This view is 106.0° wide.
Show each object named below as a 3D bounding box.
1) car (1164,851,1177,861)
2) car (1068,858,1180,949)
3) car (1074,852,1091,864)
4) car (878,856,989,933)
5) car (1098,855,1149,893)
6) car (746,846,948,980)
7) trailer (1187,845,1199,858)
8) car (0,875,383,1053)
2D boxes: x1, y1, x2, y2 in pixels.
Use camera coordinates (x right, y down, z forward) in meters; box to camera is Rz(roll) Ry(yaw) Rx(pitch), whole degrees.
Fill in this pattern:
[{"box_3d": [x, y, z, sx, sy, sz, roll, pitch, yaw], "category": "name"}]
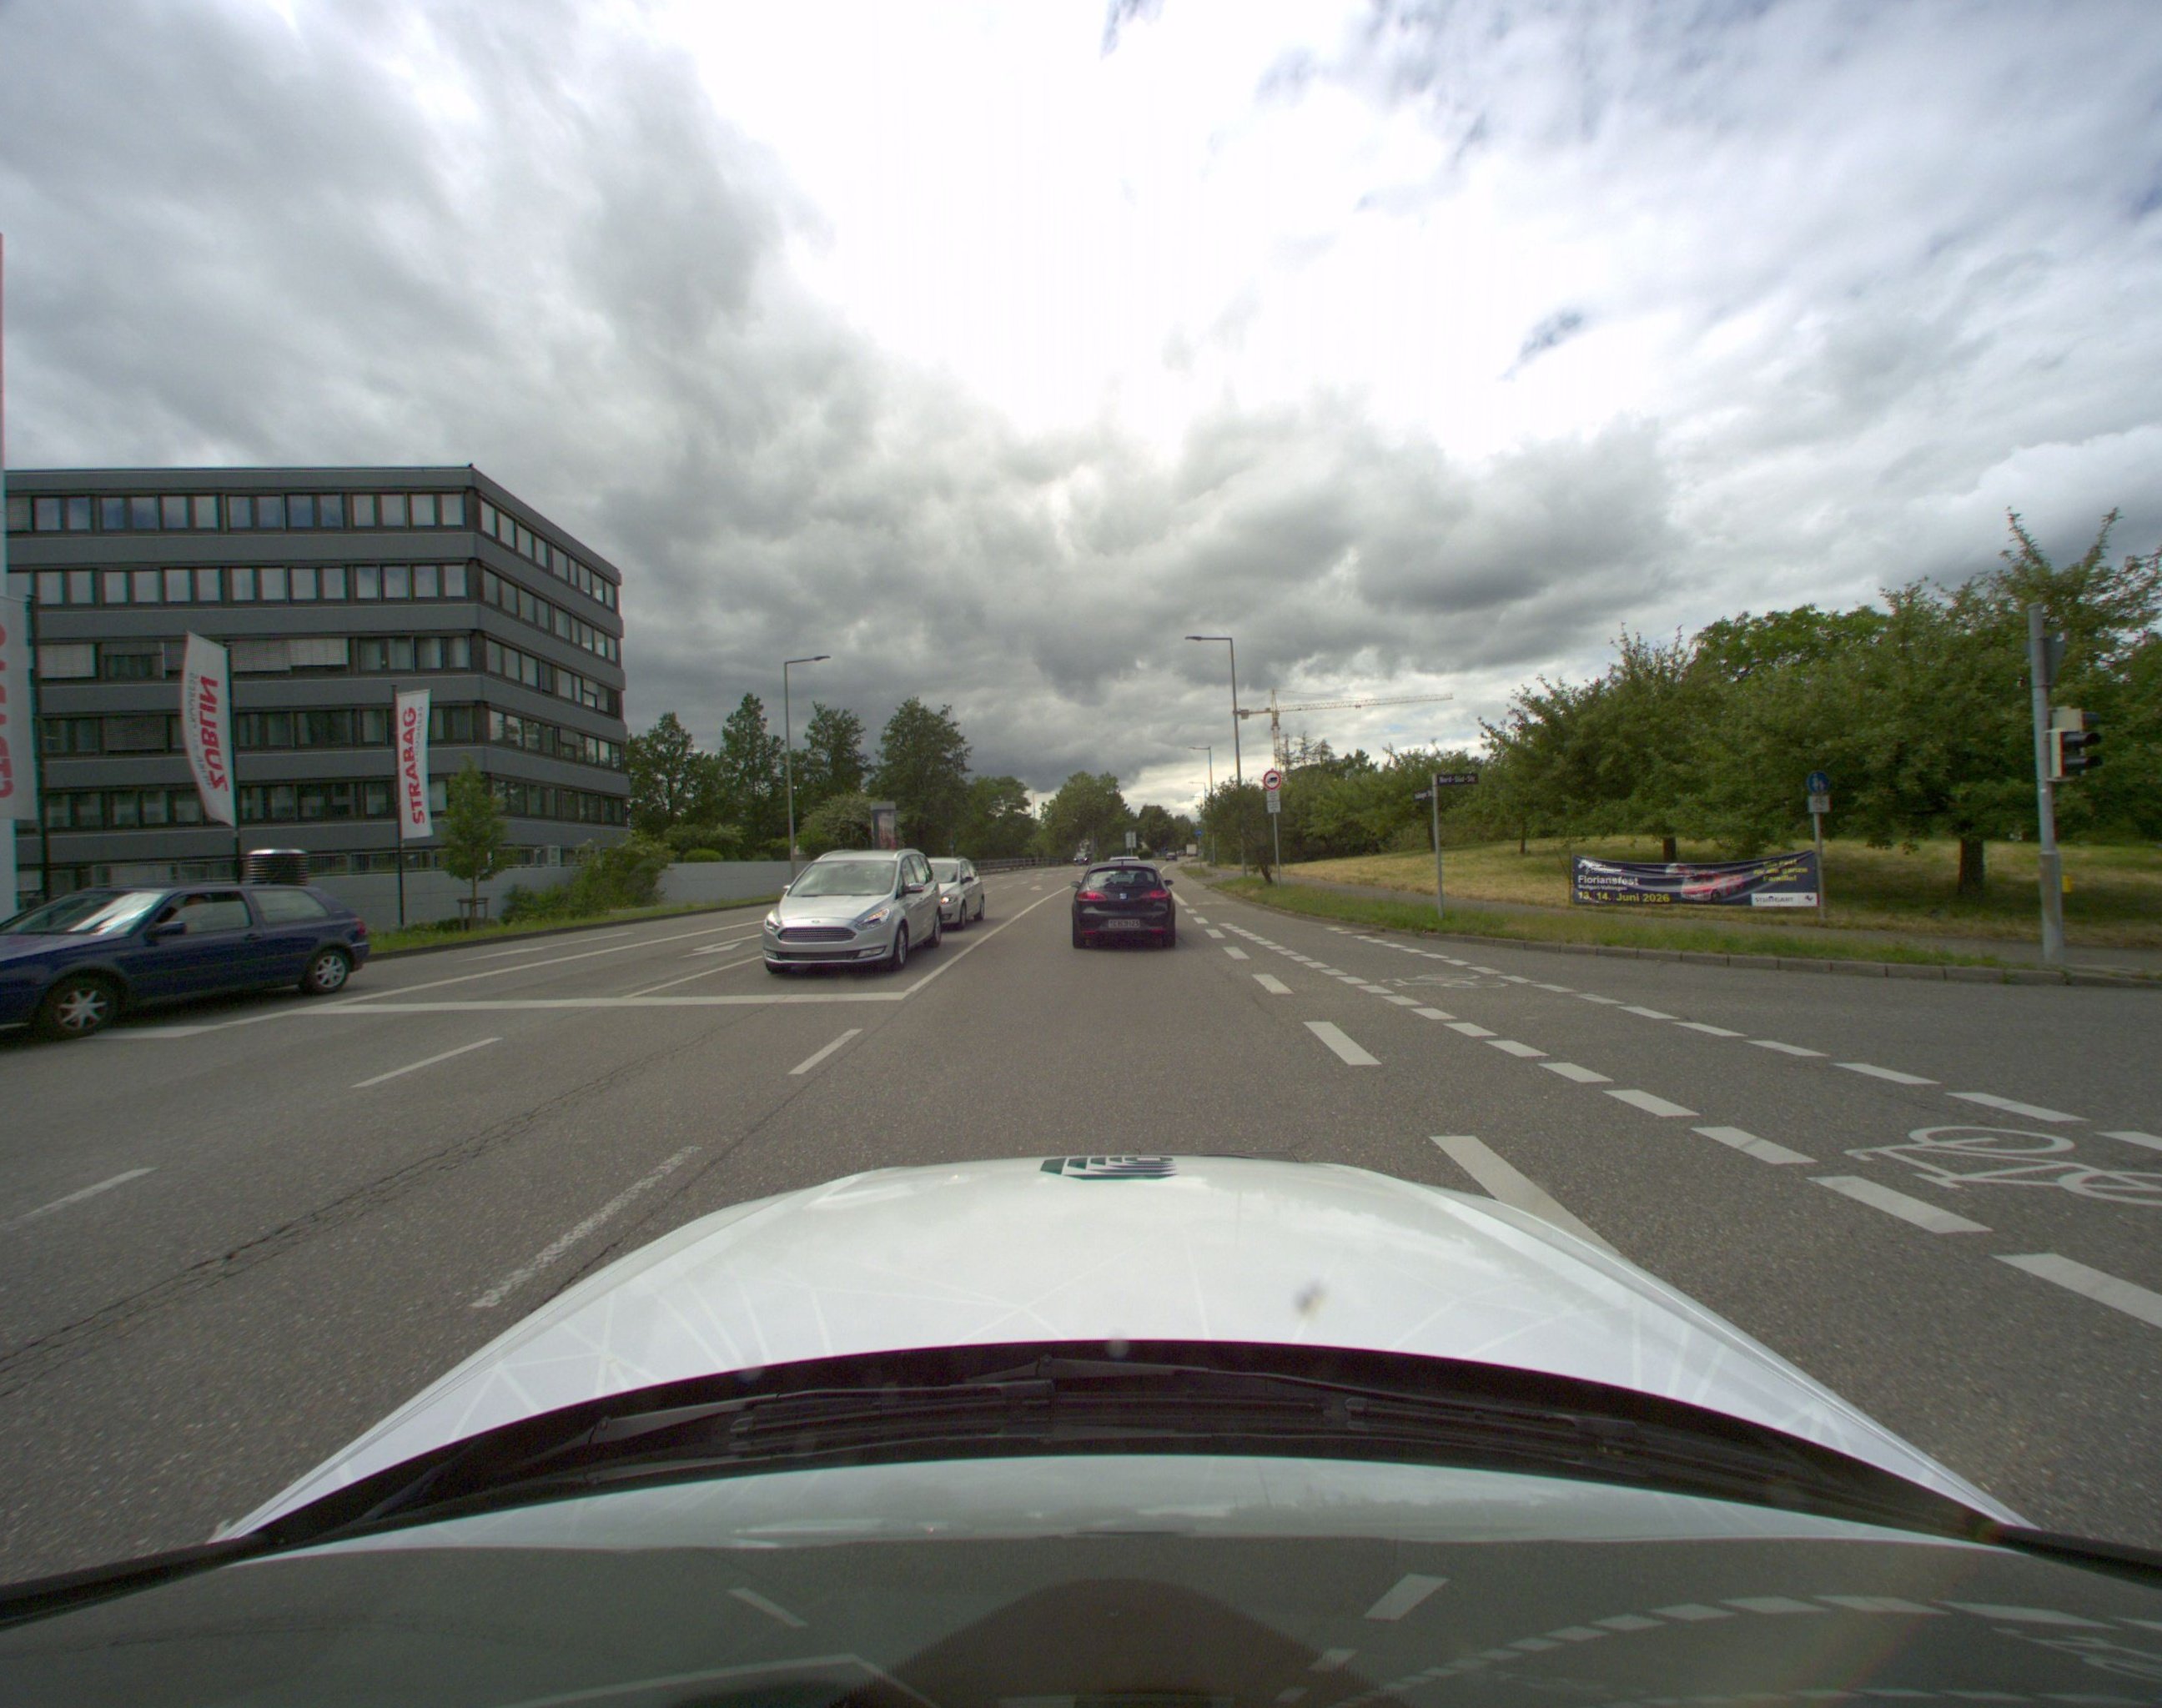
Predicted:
[{"box_3d": [15.031, 0.338, 137.197, 1.982, 1.565, 4.481, -2, 0, 8], "category": "car"}, {"box_3d": [0.660, 0.792, 14.683, 1.707, 1.417, 3.456, -1, 0, -2], "category": "car"}, {"box_3d": [0.224, 0.596, 112.394, 1.704, 1.581, 3.752, -1, -1, 10], "category": "car"}, {"box_3d": [-3.266, 0.840, 18.729, 1.654, 1.518, 4.086, -1, 0, 2], "category": "car"}, {"box_3d": [1.708, 0.797, 33.761, 1.829, 1.467, 3.749, -1, -1, -1], "category": "car"}, {"box_3d": [-3.361, 0.742, 12.721, 1.815, 1.686, 4.644, -1, 0, 0], "category": "car"}, {"box_3d": [27.649, -0.671, 201.187, 2.474, 3.073, 5.607, -1, -1, 13], "category": "trailer"}, {"box_3d": [-10.091, 1.008, 8.893, 1.549, 1.419, 3.895, -1, 0, 0], "category": "car"}]
